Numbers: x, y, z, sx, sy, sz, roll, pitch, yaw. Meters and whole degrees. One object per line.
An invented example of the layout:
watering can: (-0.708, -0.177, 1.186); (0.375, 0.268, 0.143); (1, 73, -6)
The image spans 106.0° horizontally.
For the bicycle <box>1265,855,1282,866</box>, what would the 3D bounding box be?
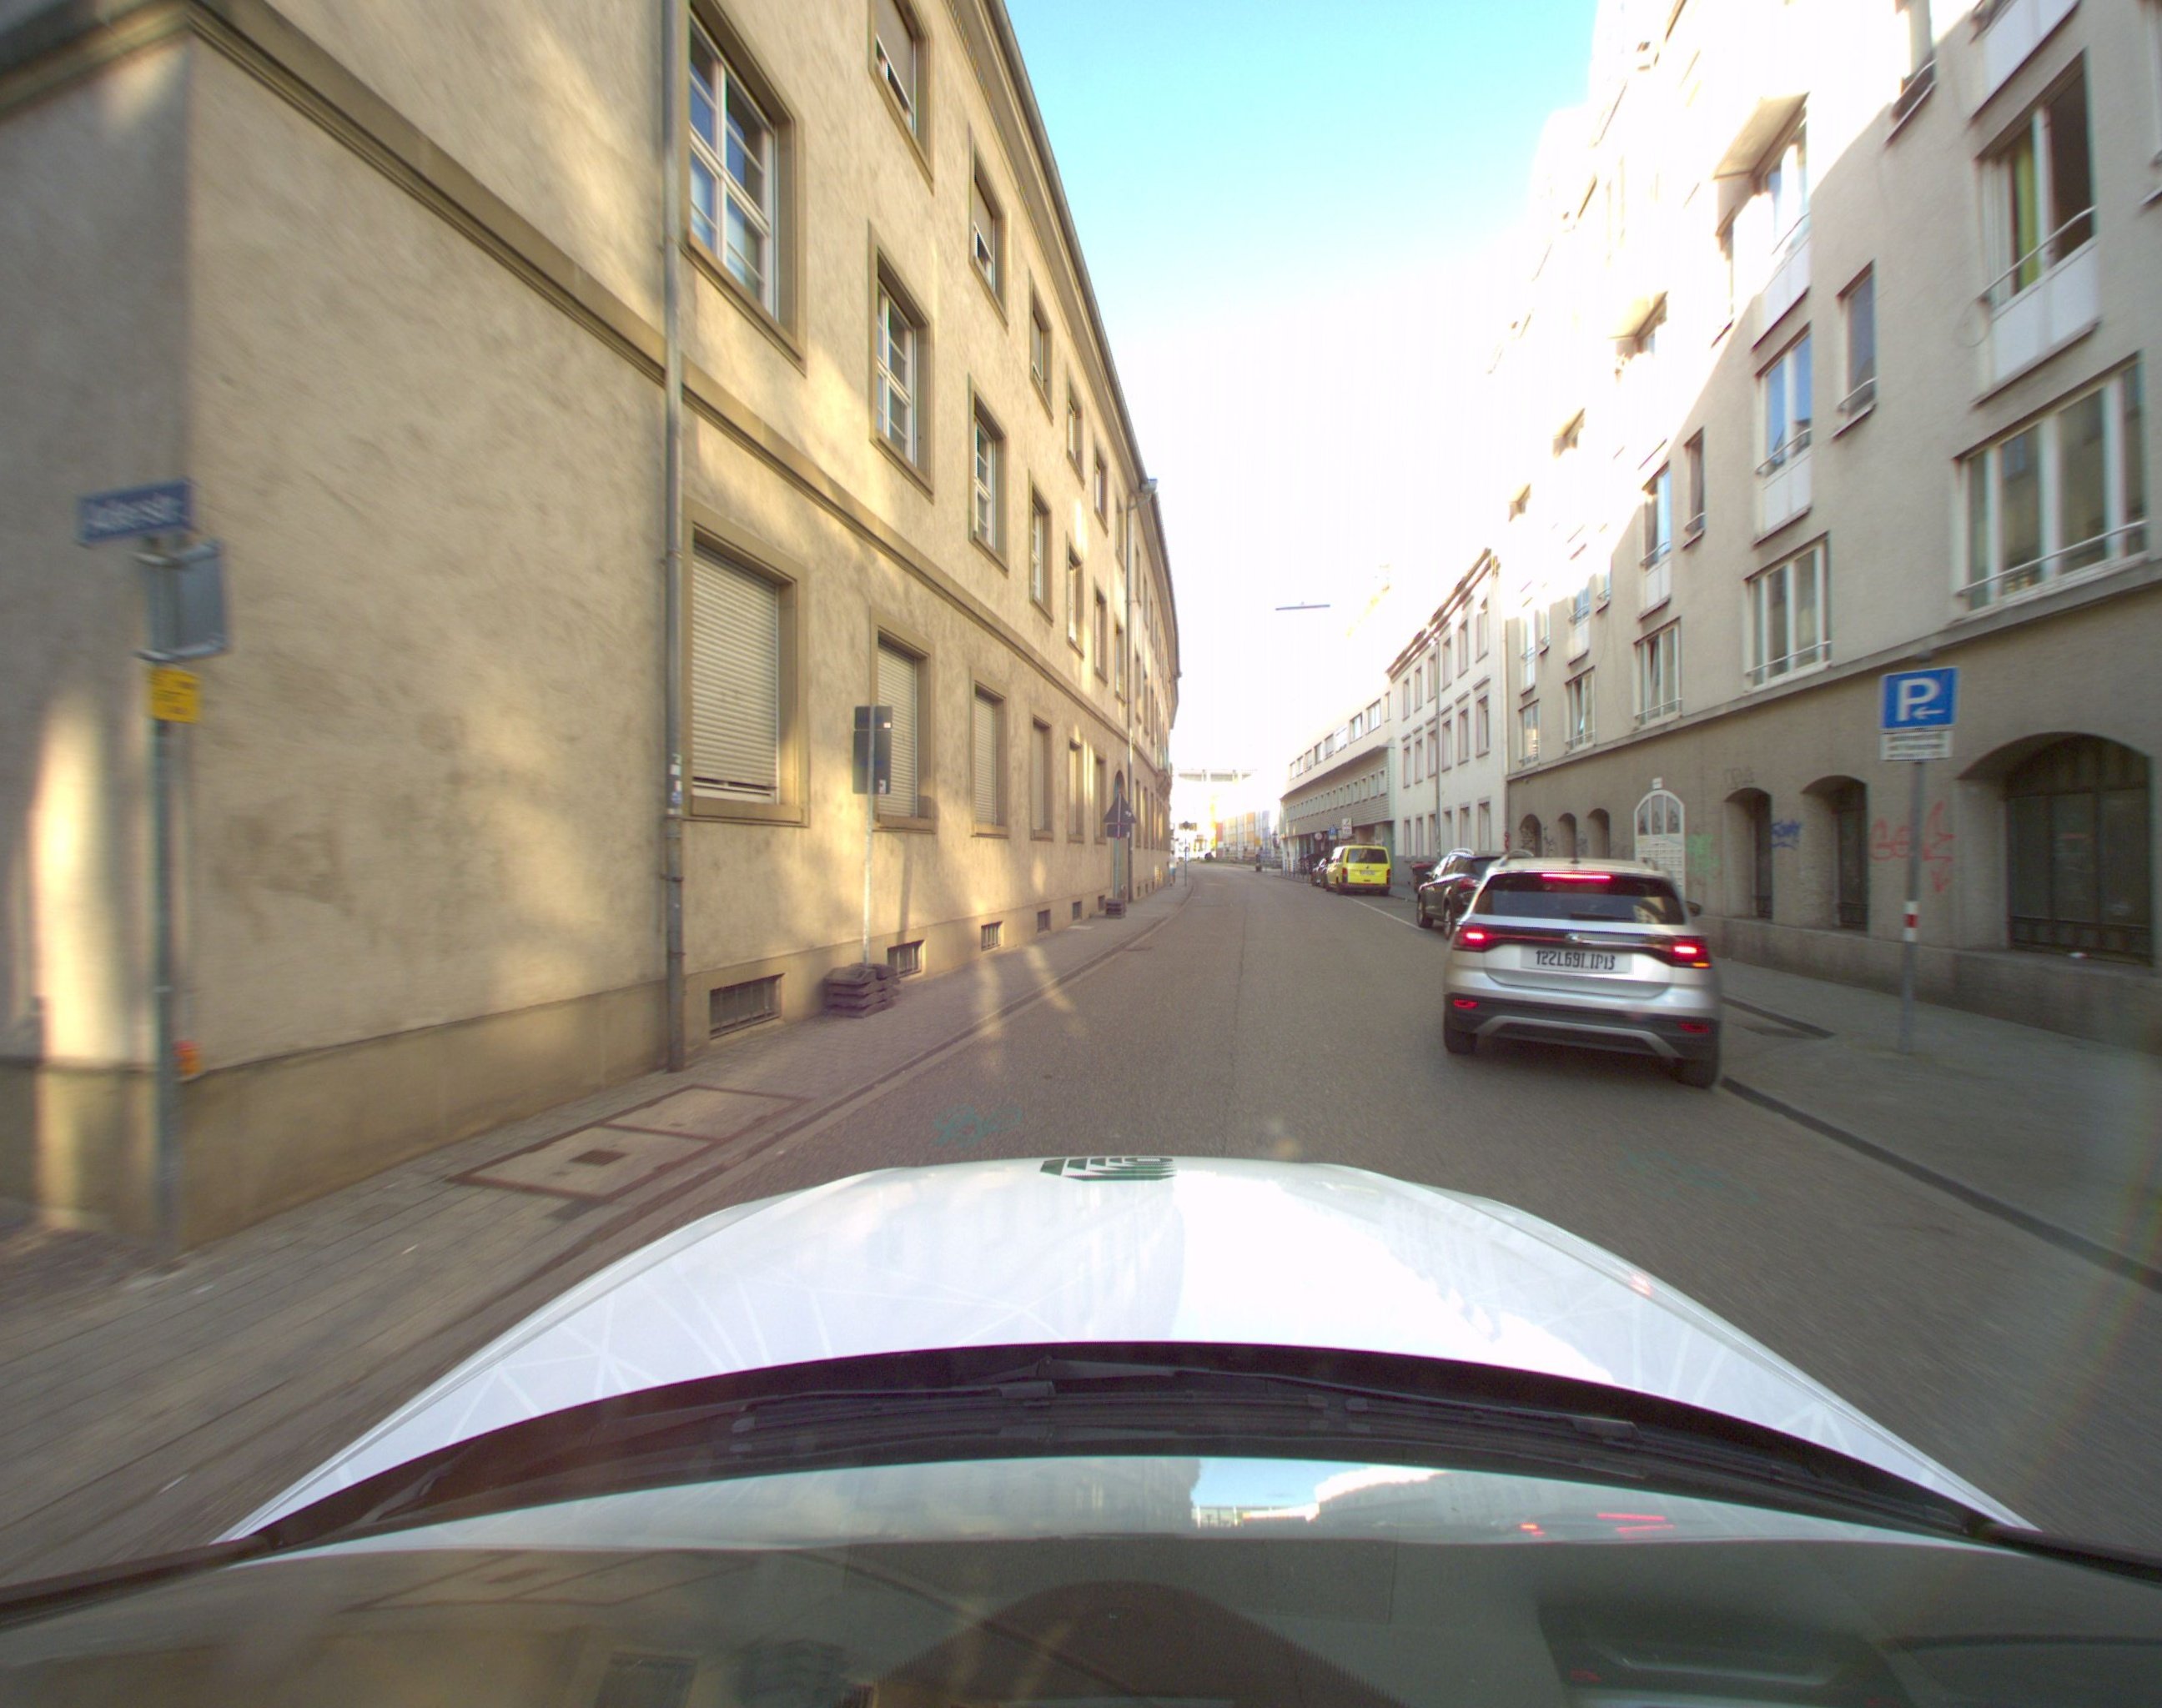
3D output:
bicycle: (21.729, 0.740, 91.816); (1.740, 1.141, 0.552); (-4, 0, 3)

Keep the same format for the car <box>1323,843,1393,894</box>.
car: (10.925, 0.525, 32.442); (1.872, 1.882, 4.858); (-1, 0, 9)

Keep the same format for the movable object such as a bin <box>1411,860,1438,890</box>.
movable object such as a bin: (12.694, 0.764, 30.114); (0.623, 1.051, 0.709); (-6, -1, 4)

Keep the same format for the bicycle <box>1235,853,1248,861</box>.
bicycle: (24.182, 0.398, 122.412); (1.803, 1.137, 0.552); (-2, -1, 2)

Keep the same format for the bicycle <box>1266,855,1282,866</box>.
bicycle: (22.077, 0.729, 93.210); (1.638, 1.141, 0.283); (-4, 0, -5)

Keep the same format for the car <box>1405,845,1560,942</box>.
car: (7.776, 0.672, 16.228); (1.812, 1.654, 4.510); (0, 0, 13)

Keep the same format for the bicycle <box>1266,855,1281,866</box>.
bicycle: (22.056, 0.733, 93.485); (1.599, 1.141, 0.237); (-4, 0, -5)

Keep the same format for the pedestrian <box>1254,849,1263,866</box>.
pedestrian: (19.458, 0.361, 89.141); (0.693, 1.760, 1.190); (-4, -1, 4)

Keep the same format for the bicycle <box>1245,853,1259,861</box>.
bicycle: (22.205, 0.424, 105.770); (1.740, 0.946, 0.552); (-2, -1, 4)

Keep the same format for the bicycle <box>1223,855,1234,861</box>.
bicycle: (24.733, 0.633, 136.875); (1.748, 1.004, 0.613); (-3, -1, -1)

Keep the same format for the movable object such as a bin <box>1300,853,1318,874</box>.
movable object such as a bin: (16.173, 0.681, 57.882); (0.976, 1.385, 1.323); (-3, -3, 6)

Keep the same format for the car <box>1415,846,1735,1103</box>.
car: (4.254, 0.728, 7.111); (1.807, 1.559, 4.011); (-1, 0, 32)

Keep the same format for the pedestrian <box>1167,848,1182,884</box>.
pedestrian: (4.474, 0.573, 38.857); (0.689, 1.670, 0.877); (1, -1, 8)

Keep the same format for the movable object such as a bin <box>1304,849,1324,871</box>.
movable object such as a bin: (16.091, 0.429, 56.302); (0.976, 1.480, 1.554); (-3, -3, 6)

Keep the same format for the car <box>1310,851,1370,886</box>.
car: (11.907, 0.632, 37.684); (1.873, 1.489, 4.377); (0, 0, 7)
